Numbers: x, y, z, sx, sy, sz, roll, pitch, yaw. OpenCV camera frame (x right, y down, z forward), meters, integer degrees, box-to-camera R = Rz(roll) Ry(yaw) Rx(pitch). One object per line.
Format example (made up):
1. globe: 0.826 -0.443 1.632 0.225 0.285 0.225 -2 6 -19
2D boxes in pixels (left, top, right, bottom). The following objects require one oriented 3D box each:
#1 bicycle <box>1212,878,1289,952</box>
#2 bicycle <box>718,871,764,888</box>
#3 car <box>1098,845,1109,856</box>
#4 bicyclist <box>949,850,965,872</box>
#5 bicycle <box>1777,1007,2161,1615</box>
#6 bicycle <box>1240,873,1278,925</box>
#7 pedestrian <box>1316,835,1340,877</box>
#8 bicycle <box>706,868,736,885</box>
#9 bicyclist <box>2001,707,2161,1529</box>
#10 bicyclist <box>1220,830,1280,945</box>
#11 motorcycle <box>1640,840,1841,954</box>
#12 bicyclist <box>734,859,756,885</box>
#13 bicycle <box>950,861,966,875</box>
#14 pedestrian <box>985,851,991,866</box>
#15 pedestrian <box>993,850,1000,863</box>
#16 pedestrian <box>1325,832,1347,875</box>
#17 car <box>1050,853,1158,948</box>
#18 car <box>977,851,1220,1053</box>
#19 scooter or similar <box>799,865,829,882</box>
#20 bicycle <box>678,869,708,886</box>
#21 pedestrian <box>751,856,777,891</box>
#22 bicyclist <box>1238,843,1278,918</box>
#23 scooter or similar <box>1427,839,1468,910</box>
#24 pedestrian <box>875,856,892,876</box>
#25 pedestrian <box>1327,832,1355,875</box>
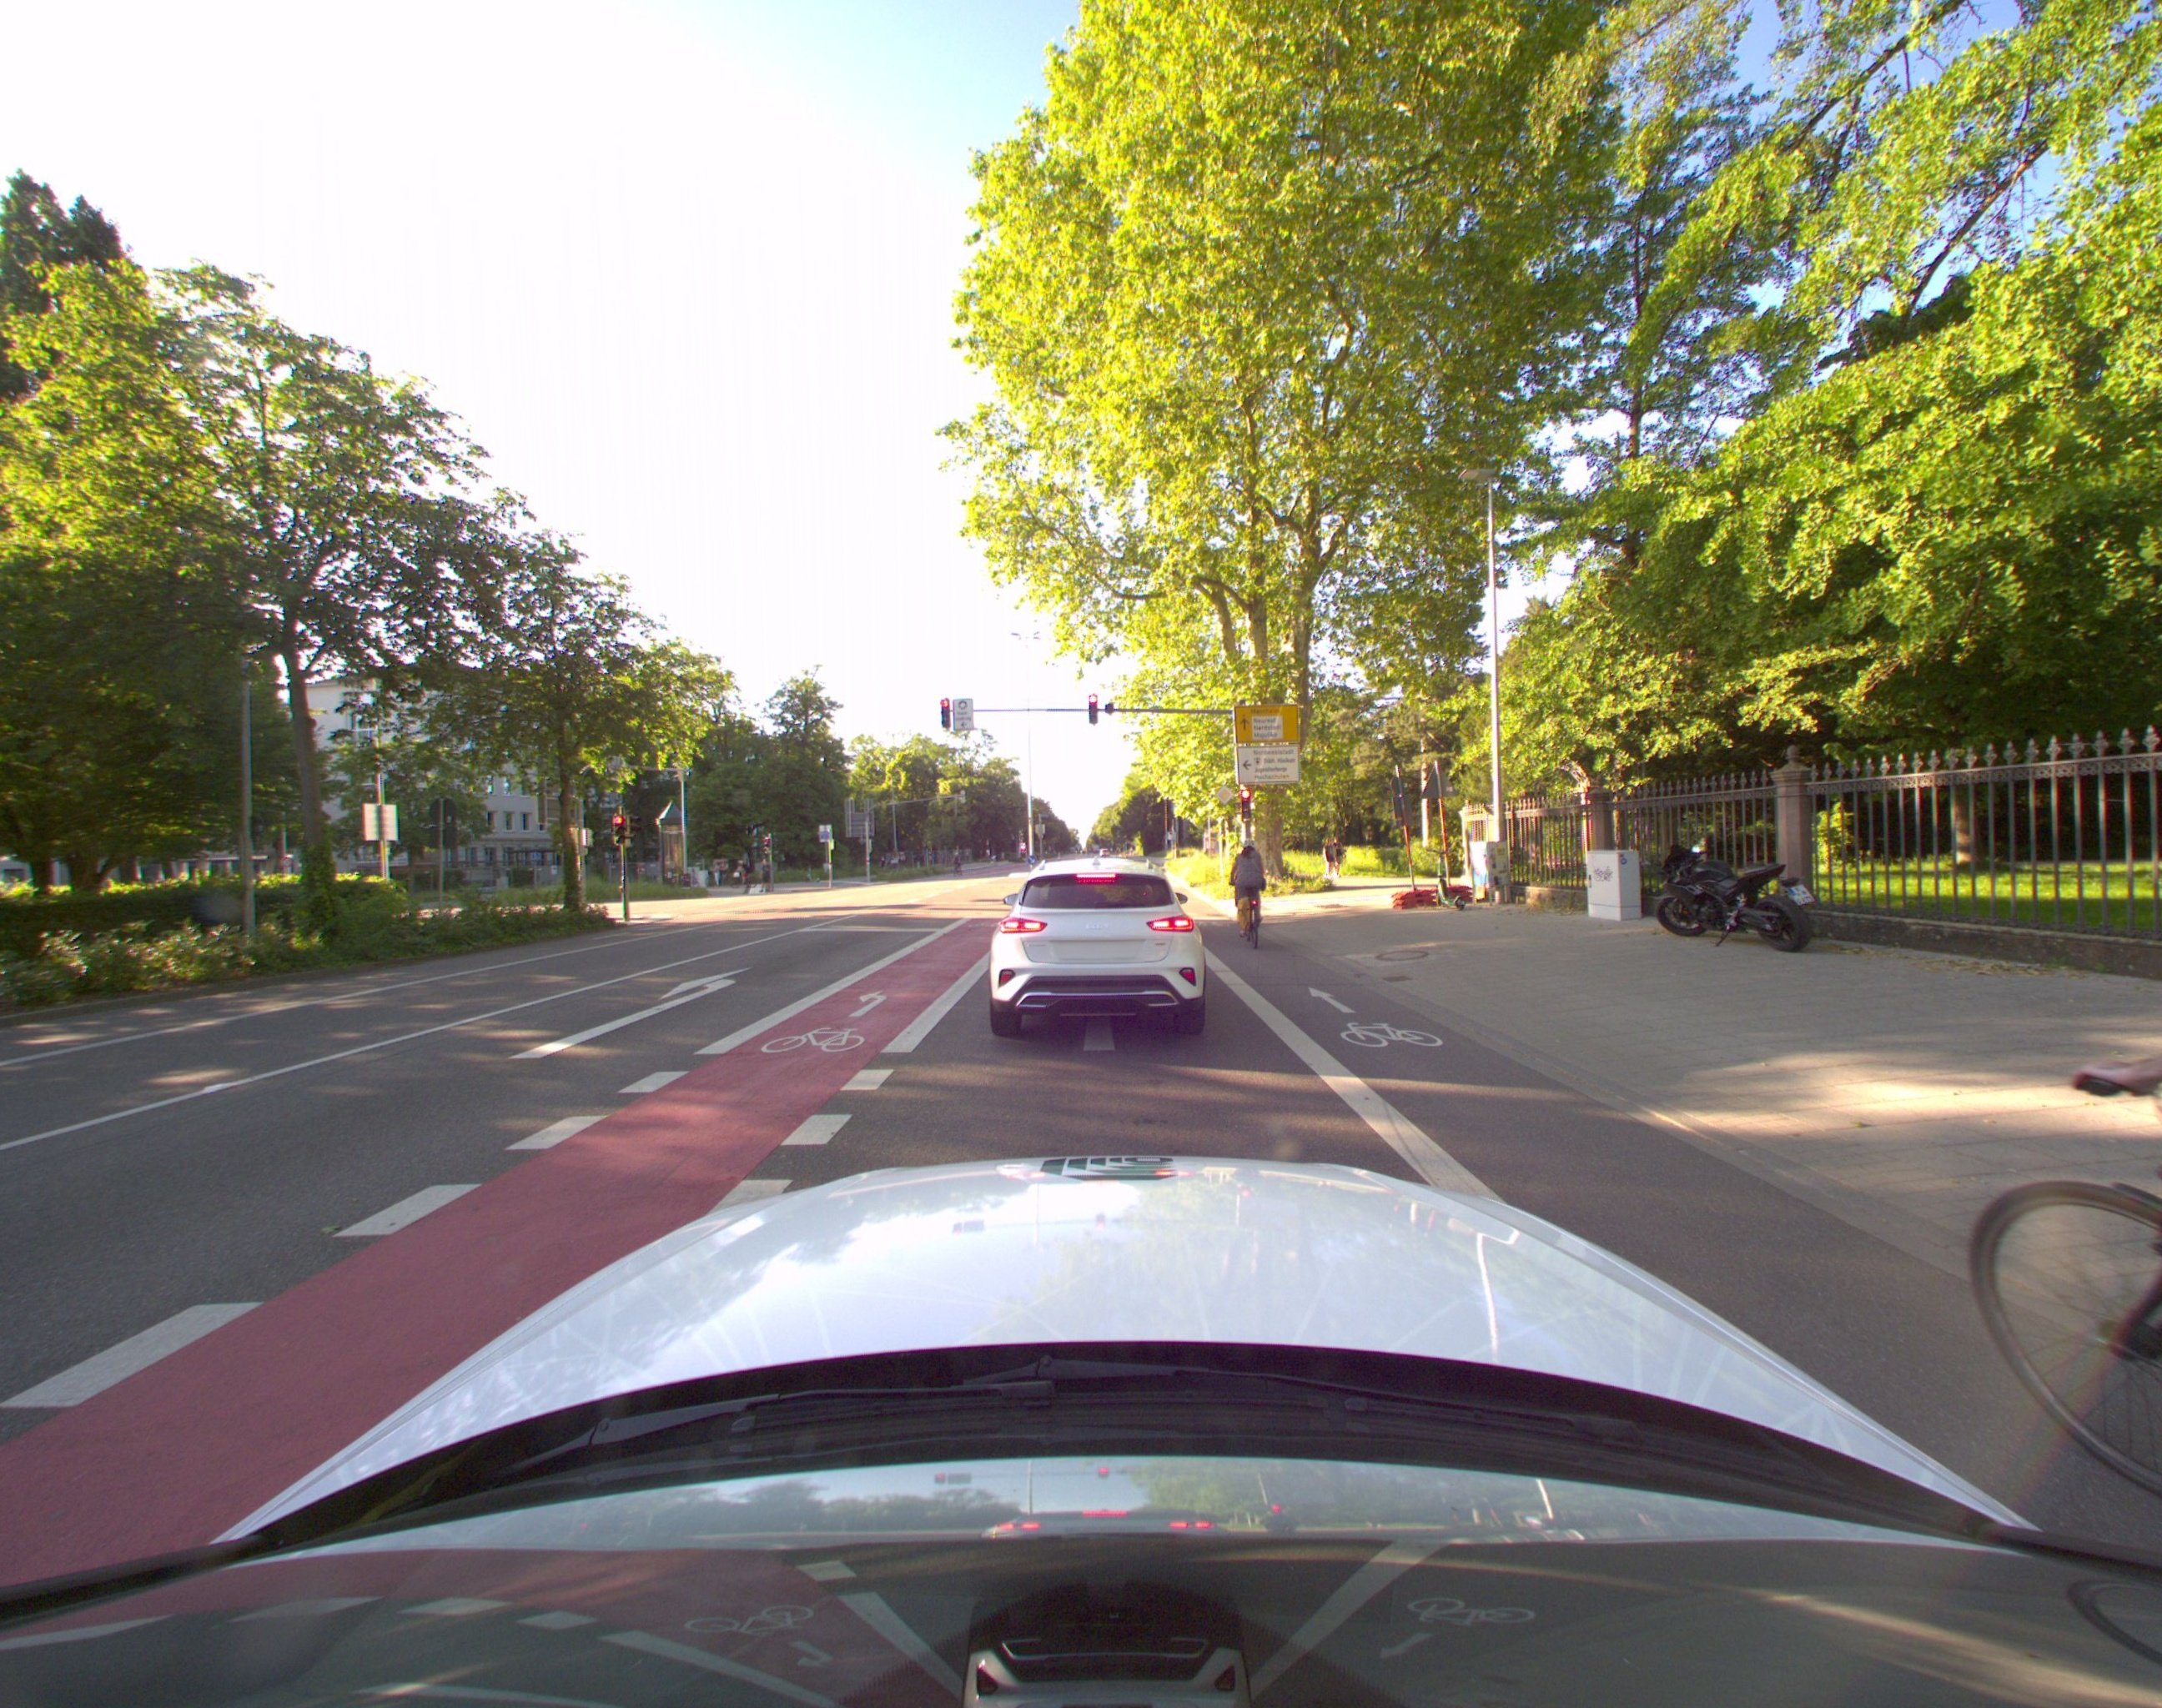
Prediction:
1. bicycle: 2.733 0.942 13.412 0.755 1.013 2.569 0 0 0
2. bicycle: -22.037 1.655 52.803 2.695 0.989 0.581 -3 0 2
3. car: 4.354 -0.711 159.006 1.986 2.013 4.002 -3 0 2
4. bicyclist: -9.320 0.538 61.432 0.871 1.608 1.189 -3 0 4
5. bicycle: 2.439 0.980 1.434 0.666 1.009 2.081 -1 0 0
6. bicycle: 3.680 0.910 16.914 0.400 0.956 1.551 -5 0 0
7. pedestrian: 10.143 0.083 33.493 0.688 1.699 0.643 -3 0 -5
8. bicycle: -24.244 1.509 54.889 1.859 1.148 0.290 -1 -1 -6
9. bicyclist: 2.432 0.514 1.498 0.663 1.602 0.721 -1 0 0
10. bicyclist: 2.730 0.516 13.257 0.750 1.795 1.165 0 0 0
11. motorcycle: 7.458 0.442 9.373 0.504 1.131 2.170 -4 0 0
12. bicyclist: -21.791 1.151 52.796 0.971 1.606 0.878 -3 0 2
13. bicycle: -9.292 1.032 61.516 0.660 0.989 2.507 -3 0 4
14. pedestrian: -12.073 0.580 105.660 0.637 2.014 0.756 -1 -1 12
15. pedestrian: -10.956 0.326 105.958 0.782 1.785 0.751 -1 -1 2
16. pedestrian: 10.663 -0.031 34.113 0.615 1.771 0.645 -3 0 -5
17. car: 0.382 0.766 15.204 1.723 1.483 3.516 -3 0 0
18. car: 0.151 0.740 8.179 1.815 1.480 3.936 -1 0 0
19. scooter or similar: -18.701 1.380 57.130 0.703 1.124 1.933 -1 0 34
20. bicycle: -26.333 1.585 55.239 1.852 1.148 0.443 -1 -1 5
21. pedestrian: -18.649 1.143 47.930 0.990 2.014 1.193 -1 -1 7
22. bicyclist: 3.645 0.543 16.792 0.552 1.478 0.717 -5 0 0
23. scooter or similar: 7.158 0.379 15.926 0.227 1.327 1.172 -3 0 0
24. pedestrian: -16.357 0.996 67.439 1.086 1.603 0.999 -3 0 -5
25. pedestrian: 11.042 -0.030 34.589 0.816 1.771 0.831 -3 0 -5
